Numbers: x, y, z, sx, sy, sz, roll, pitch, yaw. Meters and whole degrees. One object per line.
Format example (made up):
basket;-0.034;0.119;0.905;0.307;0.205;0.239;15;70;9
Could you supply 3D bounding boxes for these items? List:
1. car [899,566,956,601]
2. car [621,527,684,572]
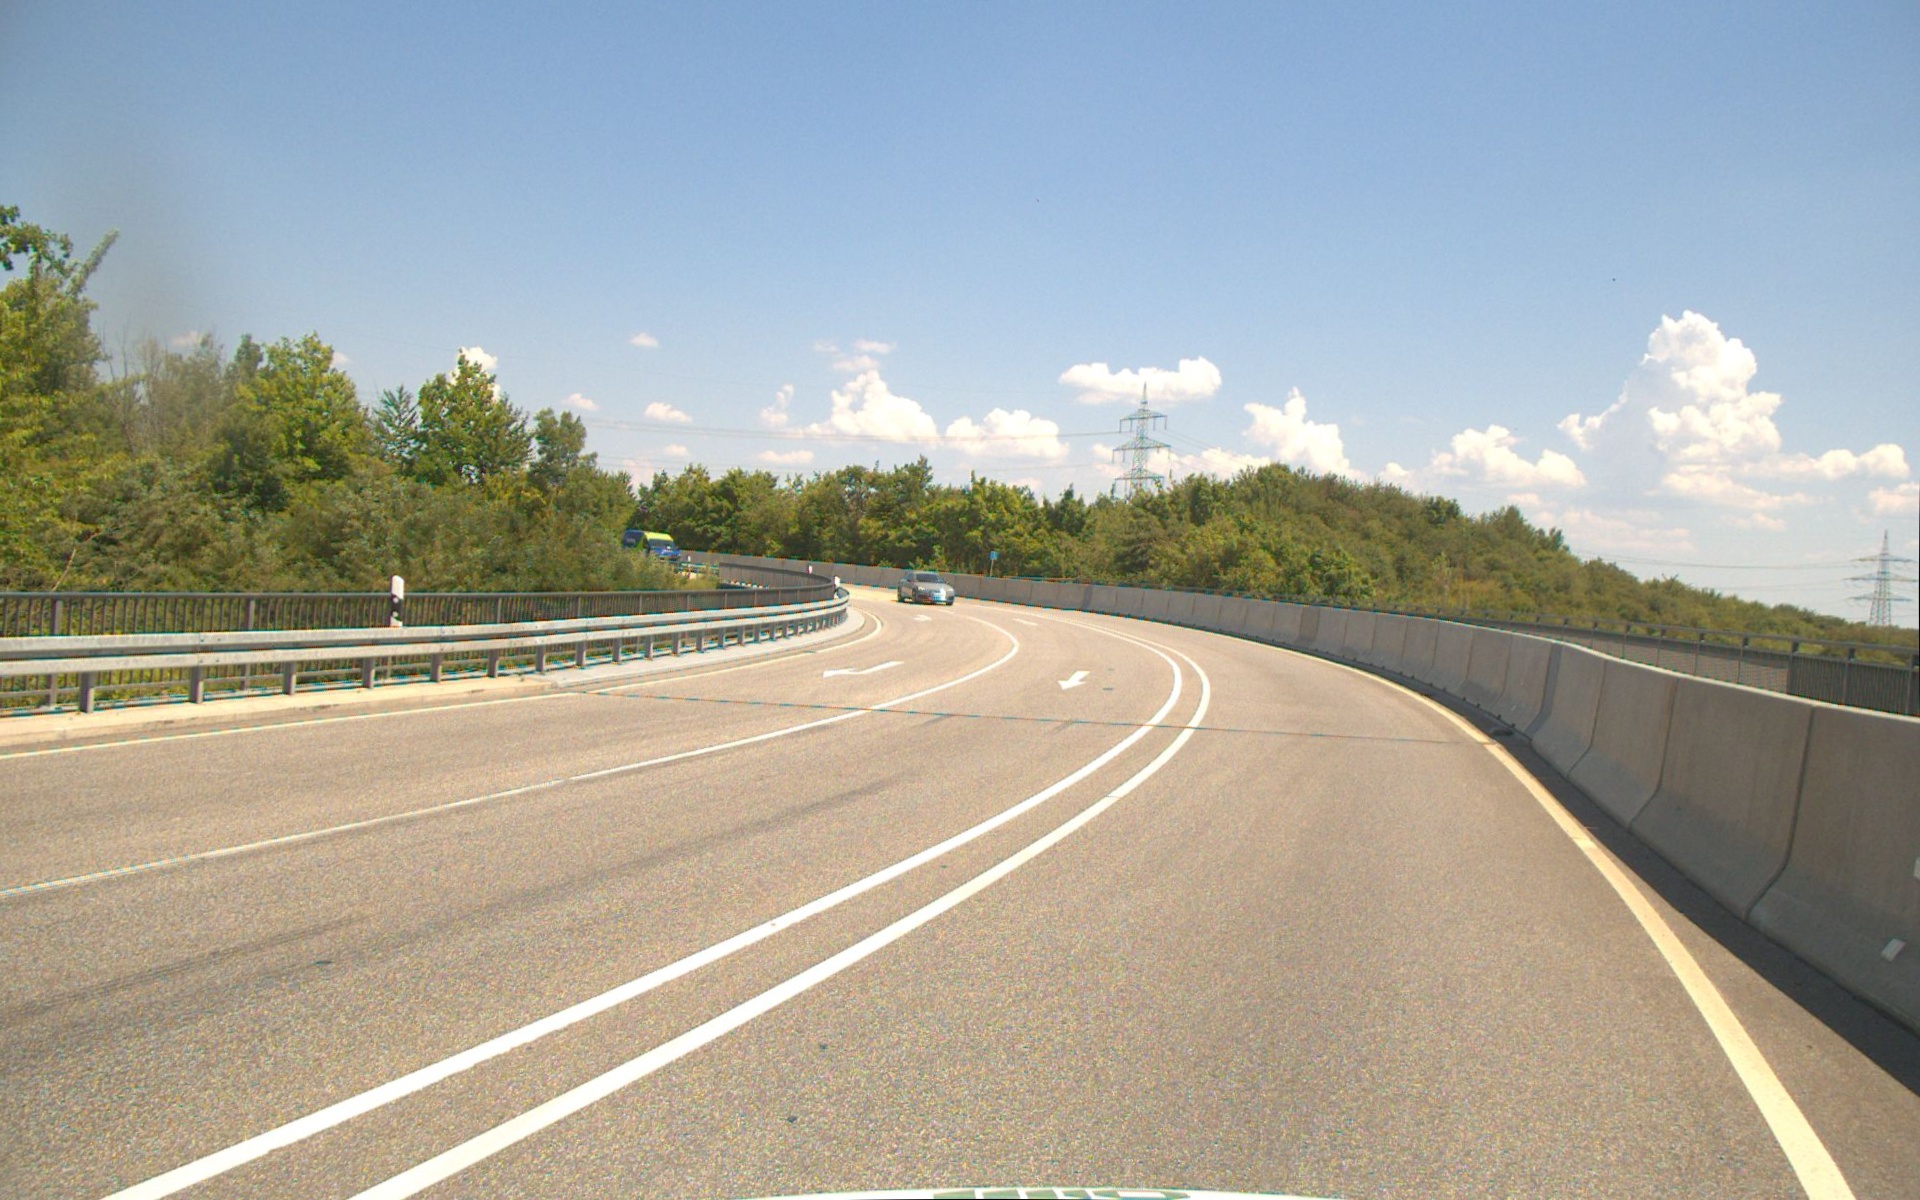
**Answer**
car;-1.489;-0.756;74.926;1.748;1.408;4.269;2;1;-12
car;-19.672;-3.271;105.564;1.975;2.525;5.424;-8;7;-31
